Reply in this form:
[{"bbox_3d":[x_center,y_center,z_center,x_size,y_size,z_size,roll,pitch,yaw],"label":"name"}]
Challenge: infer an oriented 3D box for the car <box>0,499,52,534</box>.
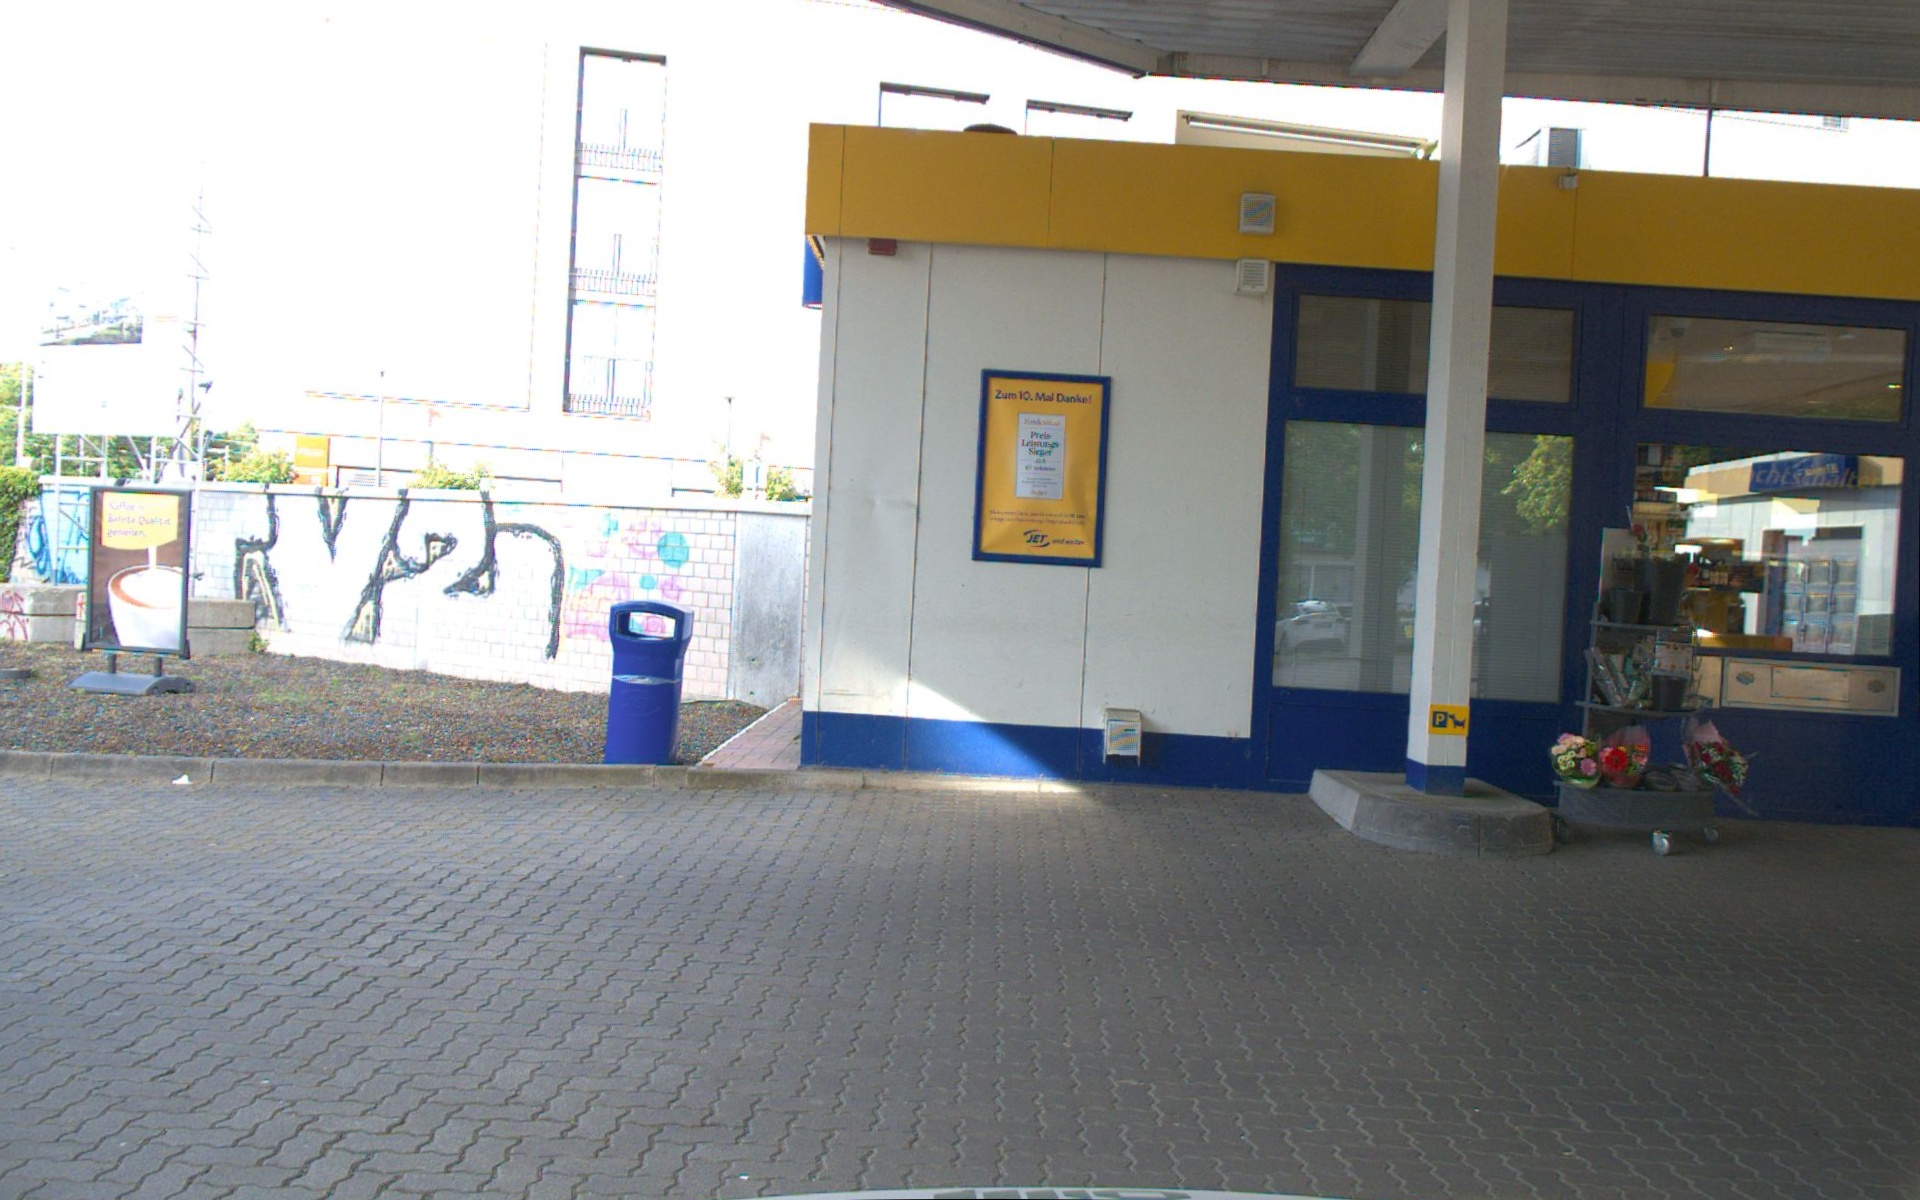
[{"bbox_3d":[-57.389,-5.079,100.889,1.957,2.002,4.879,2,2,-9],"label":"car"}]
